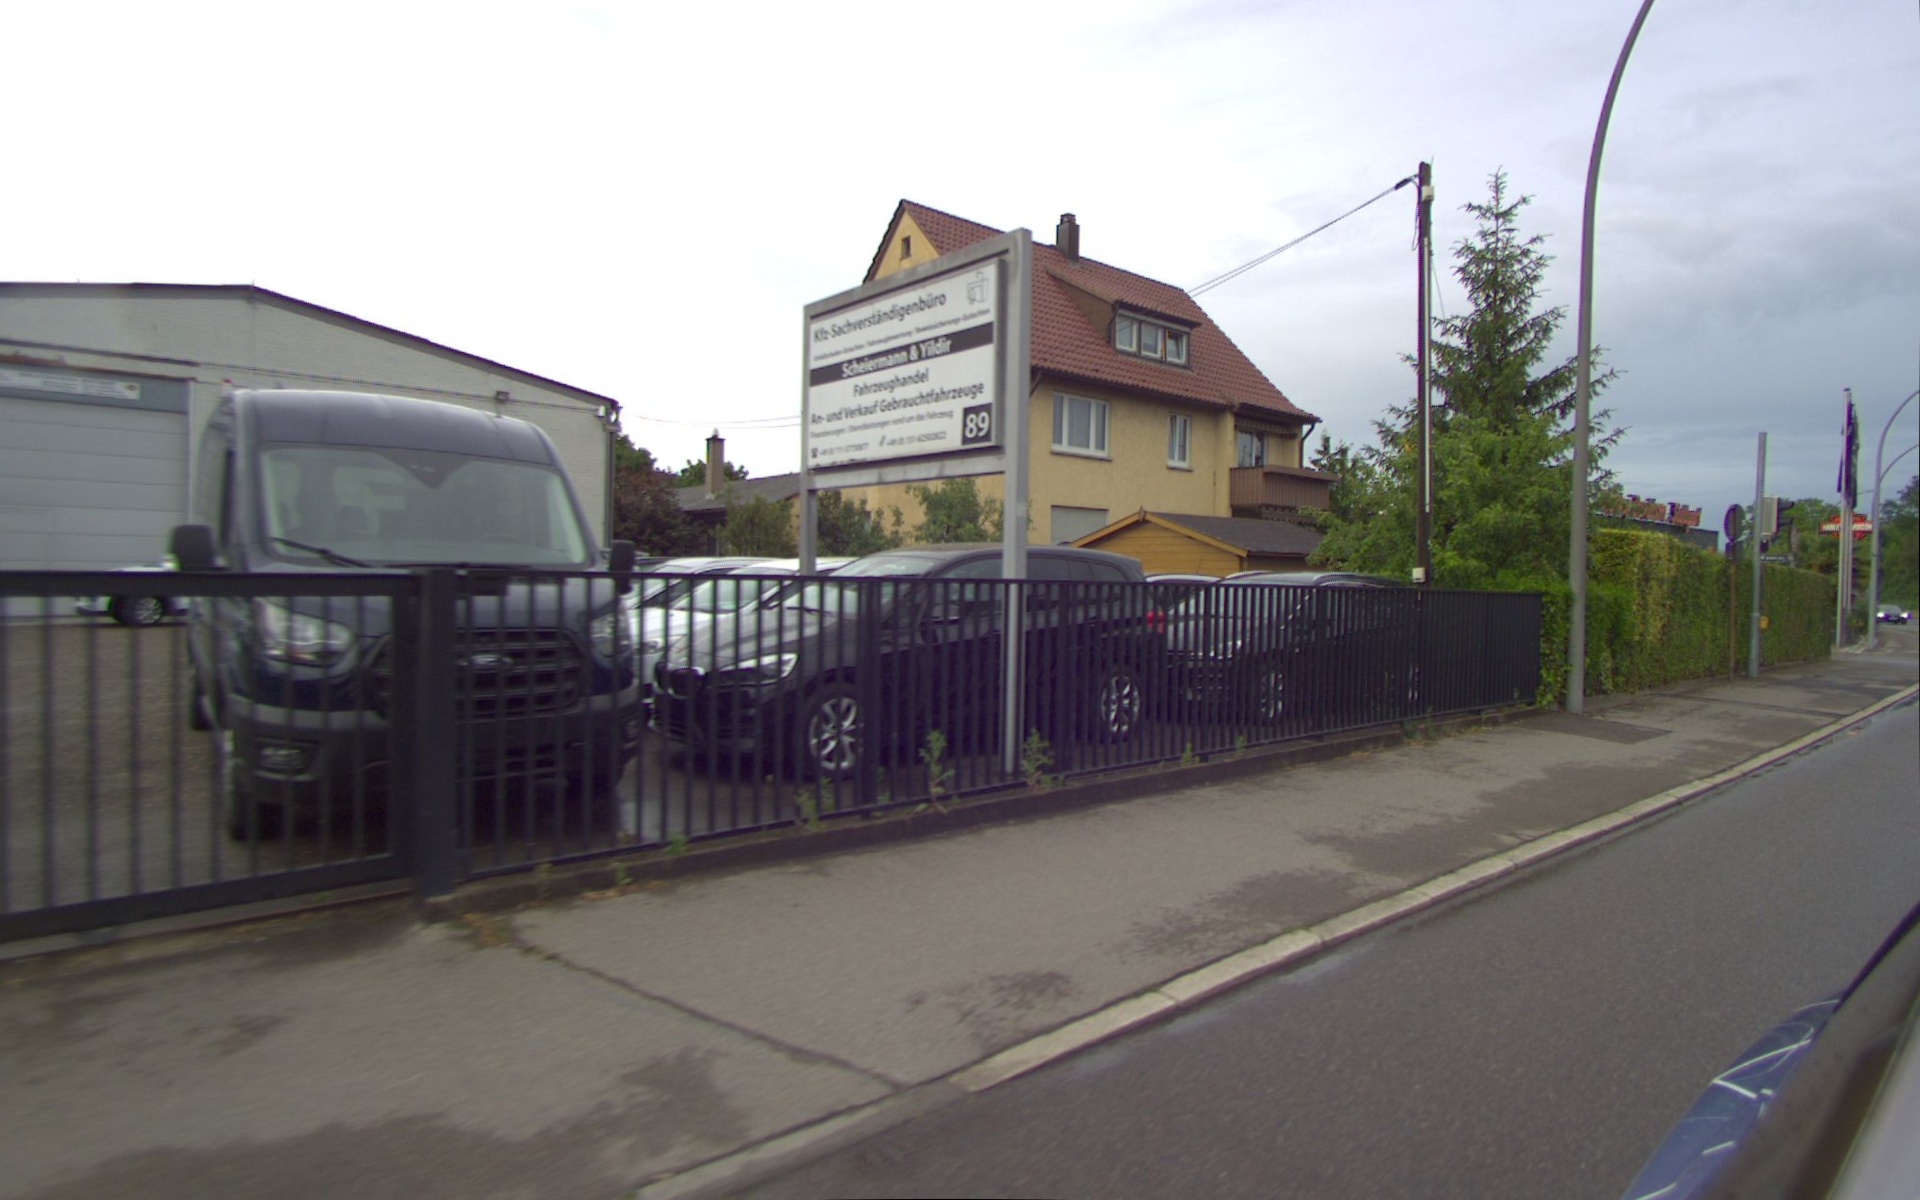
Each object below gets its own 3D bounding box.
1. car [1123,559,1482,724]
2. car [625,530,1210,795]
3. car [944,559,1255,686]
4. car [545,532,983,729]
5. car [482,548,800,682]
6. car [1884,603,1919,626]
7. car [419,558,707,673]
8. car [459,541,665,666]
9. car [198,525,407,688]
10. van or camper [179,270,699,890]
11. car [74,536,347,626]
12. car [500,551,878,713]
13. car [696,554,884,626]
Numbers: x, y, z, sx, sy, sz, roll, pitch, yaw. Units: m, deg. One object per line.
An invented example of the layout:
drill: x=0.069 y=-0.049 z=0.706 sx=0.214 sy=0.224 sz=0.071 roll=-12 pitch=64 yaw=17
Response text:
car: x=3.823 y=0.379 z=10.977 sx=4.166 sy=1.475 sz=1.666 roll=0 pitch=-1 yaw=-38
car: x=-0.146 y=0.304 z=8.082 sx=4.482 sy=1.586 sz=1.666 roll=-2 pitch=1 yaw=-37
car: x=1.871 y=0.217 z=13.098 sx=3.832 sy=1.371 sz=1.742 roll=-2 pitch=1 yaw=-36
car: x=-1.826 y=0.267 z=9.997 sx=3.925 sy=1.586 sz=1.666 roll=1 pitch=-1 yaw=-37
car: x=-4.380 y=0.131 z=14.158 sx=3.894 sy=1.619 sz=1.634 roll=-2 pitch=1 yaw=-37
car: x=70.612 y=1.047 z=75.664 sx=1.829 sy=1.639 sz=3.946 roll=2 pitch=1 yaw=37
car: x=-6.210 y=0.175 z=16.022 sx=3.926 sy=1.572 sz=1.666 roll=-2 pitch=1 yaw=-37
car: x=-7.171 y=0.023 z=18.362 sx=3.085 sy=2.076 sz=1.577 roll=-2 pitch=0 yaw=-44
car: x=-7.581 y=0.023 z=11.604 sx=1.677 sy=1.501 sz=4.338 roll=-2 pitch=1 yaw=-35
van or camper: x=-4.075 y=-0.140 z=7.094 sx=2.094 sy=2.516 sz=5.918 roll=-2 pitch=2 yaw=-38
car: x=-14.041 y=-0.373 z=19.074 sx=3.934 sy=1.498 sz=1.995 roll=-3 pitch=1 yaw=-43
car: x=-3.087 y=0.267 z=11.890 sx=3.926 sy=1.586 sz=1.666 roll=-2 pitch=1 yaw=-37
car: x=-3.484 y=-0.241 z=21.102 sx=3.550 sy=1.371 sz=1.585 roll=-2 pitch=1 yaw=-42
